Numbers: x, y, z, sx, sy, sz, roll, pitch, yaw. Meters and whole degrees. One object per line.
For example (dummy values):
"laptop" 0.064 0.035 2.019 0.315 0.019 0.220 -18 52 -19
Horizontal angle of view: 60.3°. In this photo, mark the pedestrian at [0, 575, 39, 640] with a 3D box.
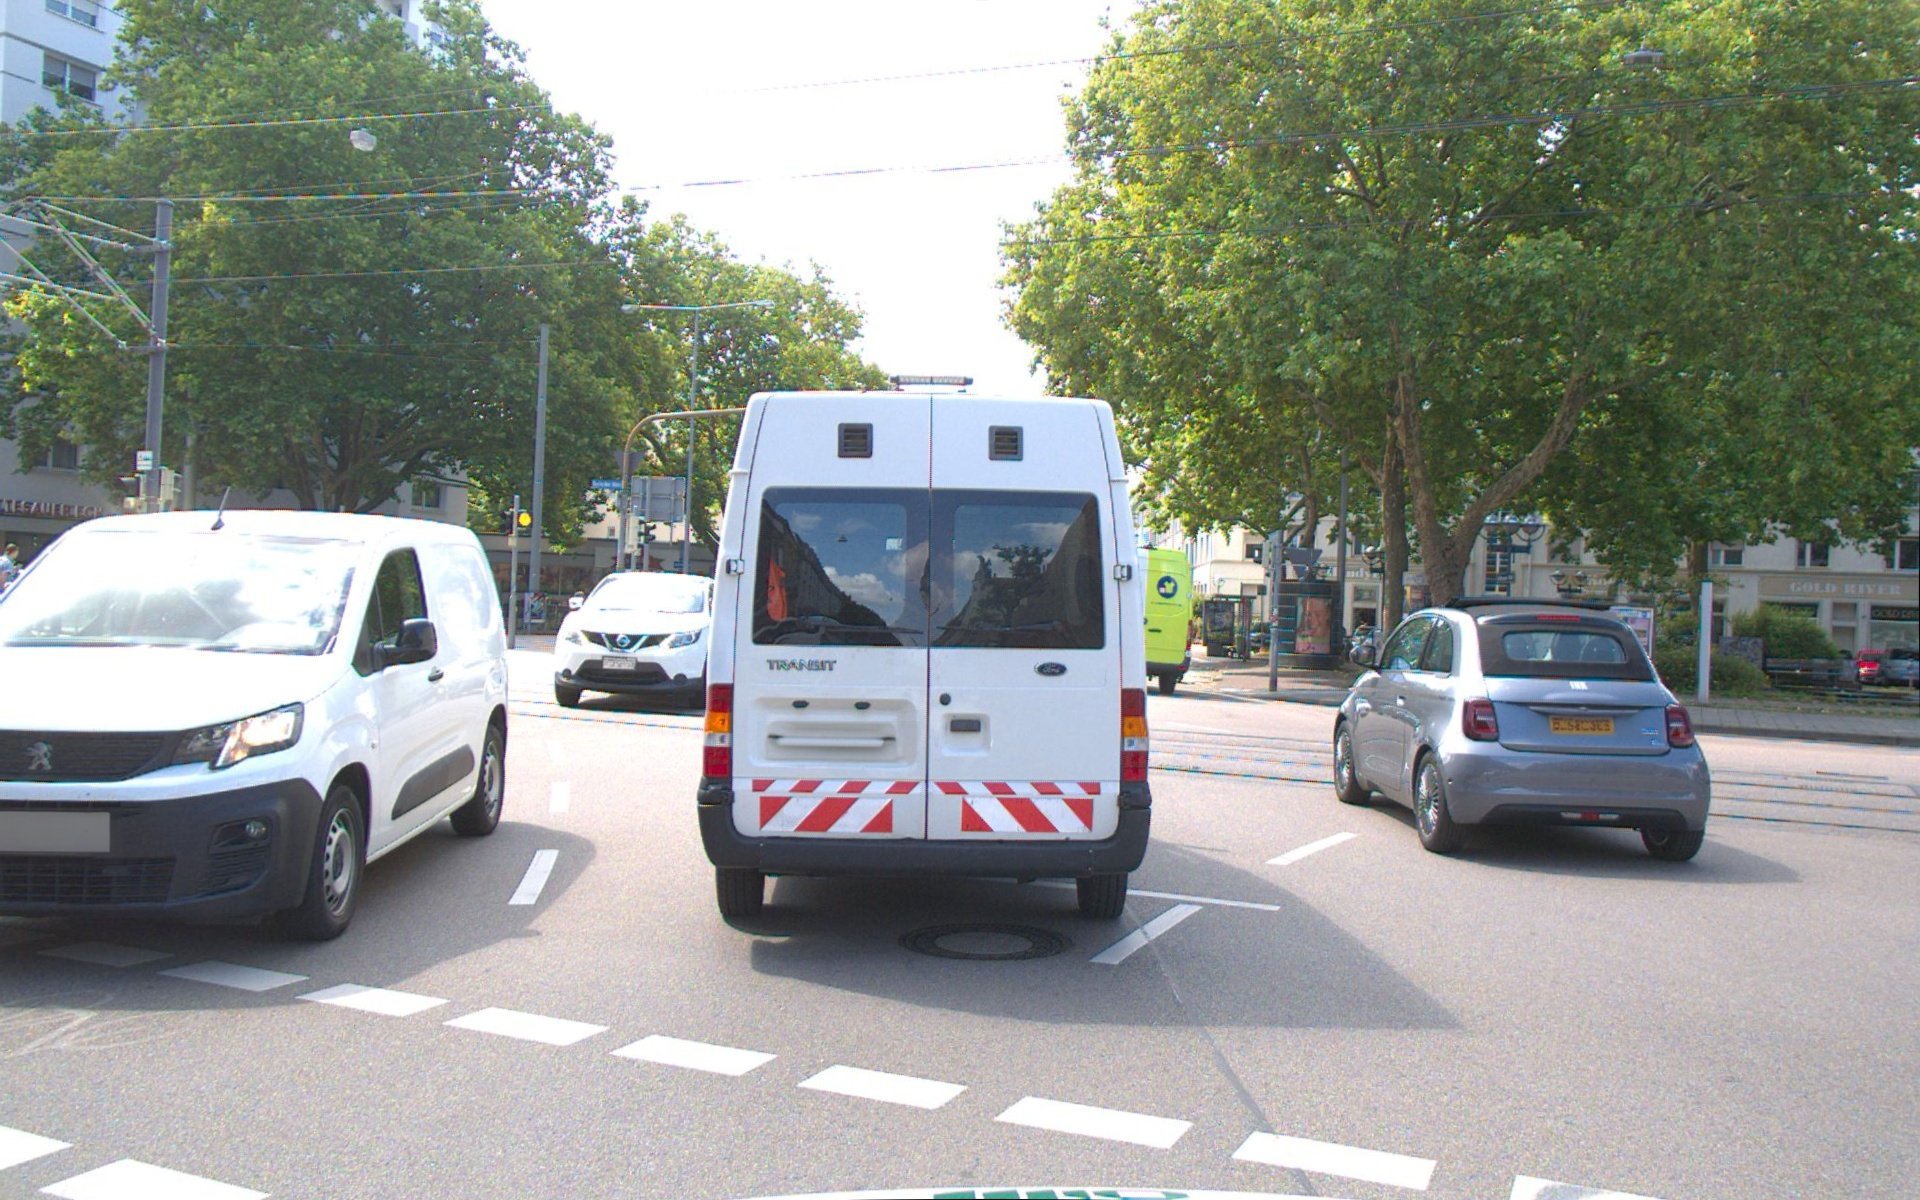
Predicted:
"pedestrian" -16.018 0.130 28.134 0.427 1.082 0.419 2 -1 33

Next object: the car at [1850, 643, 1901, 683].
"car" 41.054 2.813 74.224 1.704 1.666 3.997 2 -1 25

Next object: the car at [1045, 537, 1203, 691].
"car" 3.119 0.244 32.915 2.077 2.687 6.324 2 0 -3

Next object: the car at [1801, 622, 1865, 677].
"car" 34.837 1.968 66.069 1.954 2.049 3.997 2 -1 24

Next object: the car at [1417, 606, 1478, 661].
"car" 20.898 1.454 70.788 1.954 2.221 4.255 2 -1 24

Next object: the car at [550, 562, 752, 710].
"car" -3.697 0.377 20.441 1.734 1.610 4.020 1 1 -1

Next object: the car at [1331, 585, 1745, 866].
"car" 3.733 0.717 11.305 1.657 1.564 3.469 2 0 2

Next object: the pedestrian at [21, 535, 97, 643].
"pedestrian" -16.456 -0.197 30.212 0.826 1.932 0.829 2 -1 23

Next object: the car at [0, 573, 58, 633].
"car" -26.704 0.035 45.099 3.518 1.571 1.546 2 -1 -25

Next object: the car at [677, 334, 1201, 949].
"car" -0.226 0.159 8.908 2.007 2.373 4.710 2 0 -4

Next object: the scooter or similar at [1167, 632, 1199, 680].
"scooter or similar" 5.446 1.355 40.392 0.538 1.110 1.291 2 0 -1

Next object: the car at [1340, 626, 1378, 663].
"car" 16.519 1.826 68.445 1.434 1.413 3.069 2 -1 15

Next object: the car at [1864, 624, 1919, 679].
"car" 36.822 2.017 64.768 1.953 2.049 3.999 2 -1 22

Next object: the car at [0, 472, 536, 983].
"car" -3.415 0.417 8.013 1.776 1.806 4.281 1 1 -3

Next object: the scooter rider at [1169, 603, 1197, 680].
"scooter rider" 5.458 1.002 40.518 0.515 1.843 0.649 2 0 -1

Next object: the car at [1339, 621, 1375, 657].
"car" 20.072 1.967 83.511 1.435 1.695 3.068 2 -1 19

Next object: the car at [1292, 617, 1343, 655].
"car" 18.398 1.837 84.997 1.866 1.827 4.721 2 -1 21

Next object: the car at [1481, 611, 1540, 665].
"car" 23.362 1.609 70.073 1.954 2.112 3.998 2 -1 24

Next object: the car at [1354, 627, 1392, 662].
"car" 18.079 1.928 72.285 1.434 1.413 3.237 2 -1 16

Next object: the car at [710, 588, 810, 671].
"car" -3.944 0.550 33.149 1.712 1.567 3.929 0 0 -3

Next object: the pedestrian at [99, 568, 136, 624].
"pedestrian" -24.808 -0.123 48.698 0.766 1.626 0.535 2 -1 20

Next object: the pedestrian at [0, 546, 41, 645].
"pedestrian" -16.432 -0.083 28.635 0.661 1.695 0.624 1 0 32

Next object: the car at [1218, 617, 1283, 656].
"car" 13.127 1.655 74.581 1.986 1.628 4.538 2 -1 21
